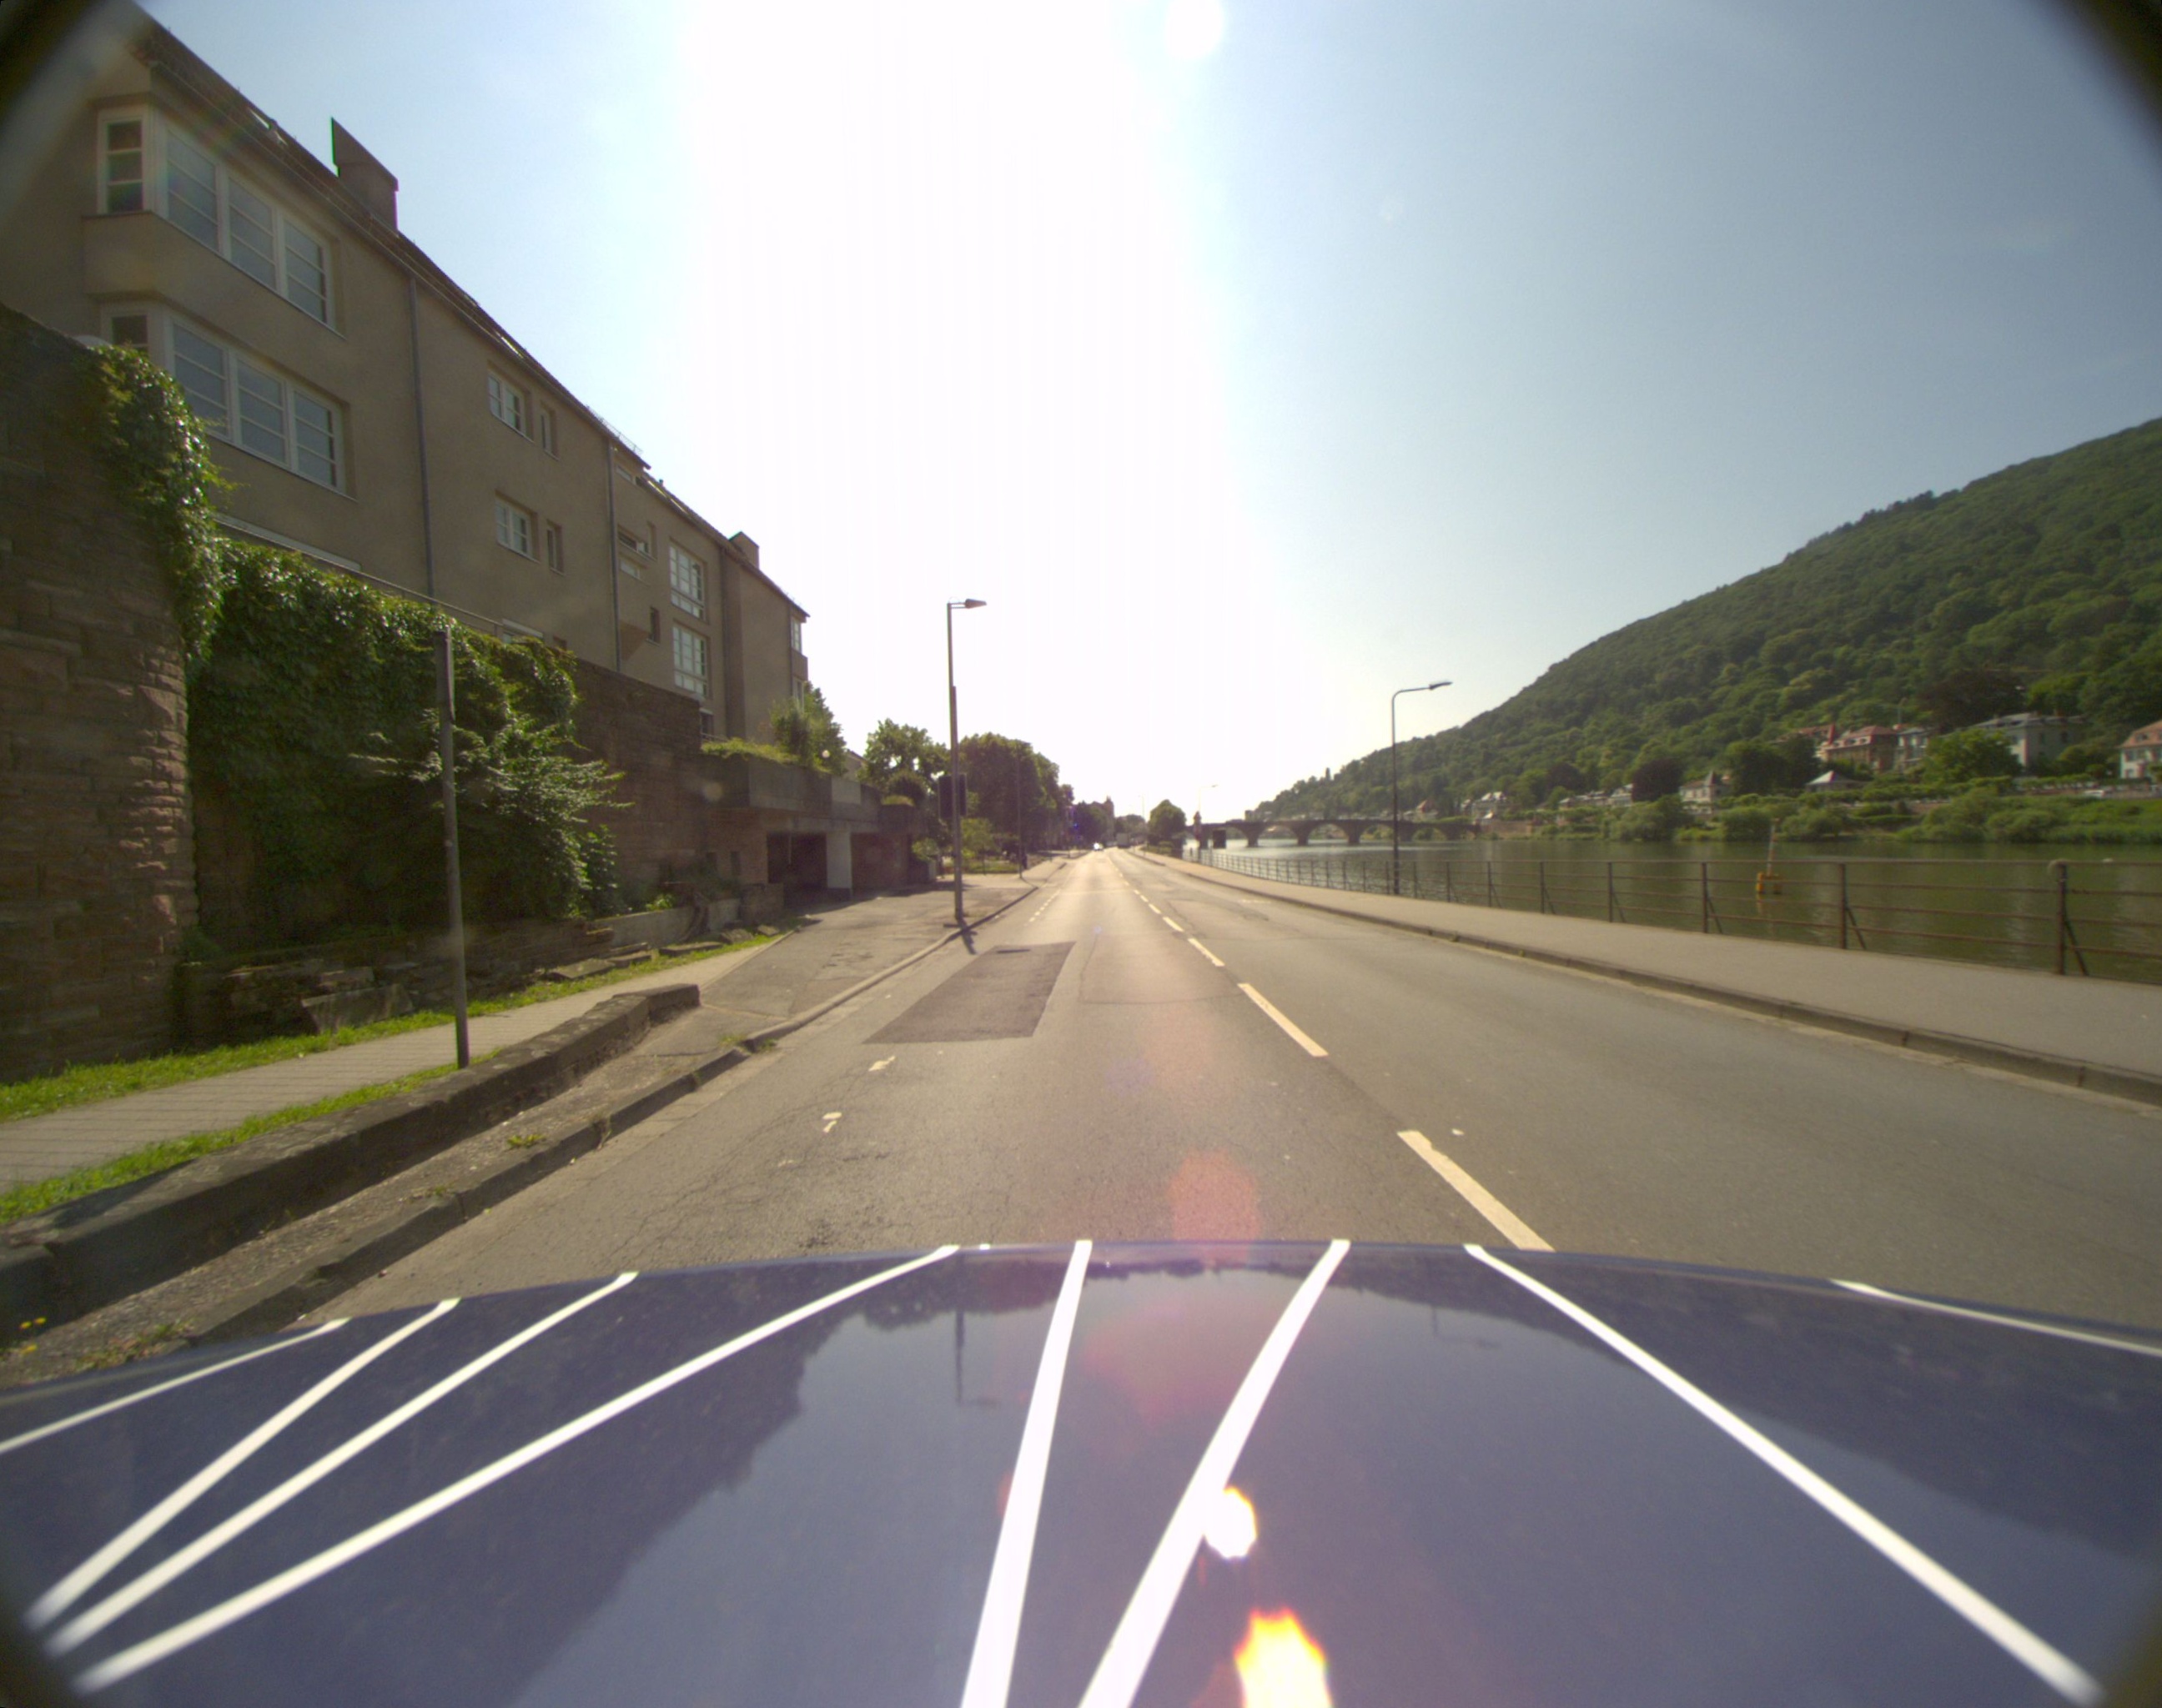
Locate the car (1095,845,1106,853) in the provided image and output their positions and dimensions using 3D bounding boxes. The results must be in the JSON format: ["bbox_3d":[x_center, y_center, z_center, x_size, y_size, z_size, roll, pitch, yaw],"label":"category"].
[{"bbox_3d":[4.015,-1.014,155.704,1.998,1.433,4.001,0,0,4],"label":"car"}]
